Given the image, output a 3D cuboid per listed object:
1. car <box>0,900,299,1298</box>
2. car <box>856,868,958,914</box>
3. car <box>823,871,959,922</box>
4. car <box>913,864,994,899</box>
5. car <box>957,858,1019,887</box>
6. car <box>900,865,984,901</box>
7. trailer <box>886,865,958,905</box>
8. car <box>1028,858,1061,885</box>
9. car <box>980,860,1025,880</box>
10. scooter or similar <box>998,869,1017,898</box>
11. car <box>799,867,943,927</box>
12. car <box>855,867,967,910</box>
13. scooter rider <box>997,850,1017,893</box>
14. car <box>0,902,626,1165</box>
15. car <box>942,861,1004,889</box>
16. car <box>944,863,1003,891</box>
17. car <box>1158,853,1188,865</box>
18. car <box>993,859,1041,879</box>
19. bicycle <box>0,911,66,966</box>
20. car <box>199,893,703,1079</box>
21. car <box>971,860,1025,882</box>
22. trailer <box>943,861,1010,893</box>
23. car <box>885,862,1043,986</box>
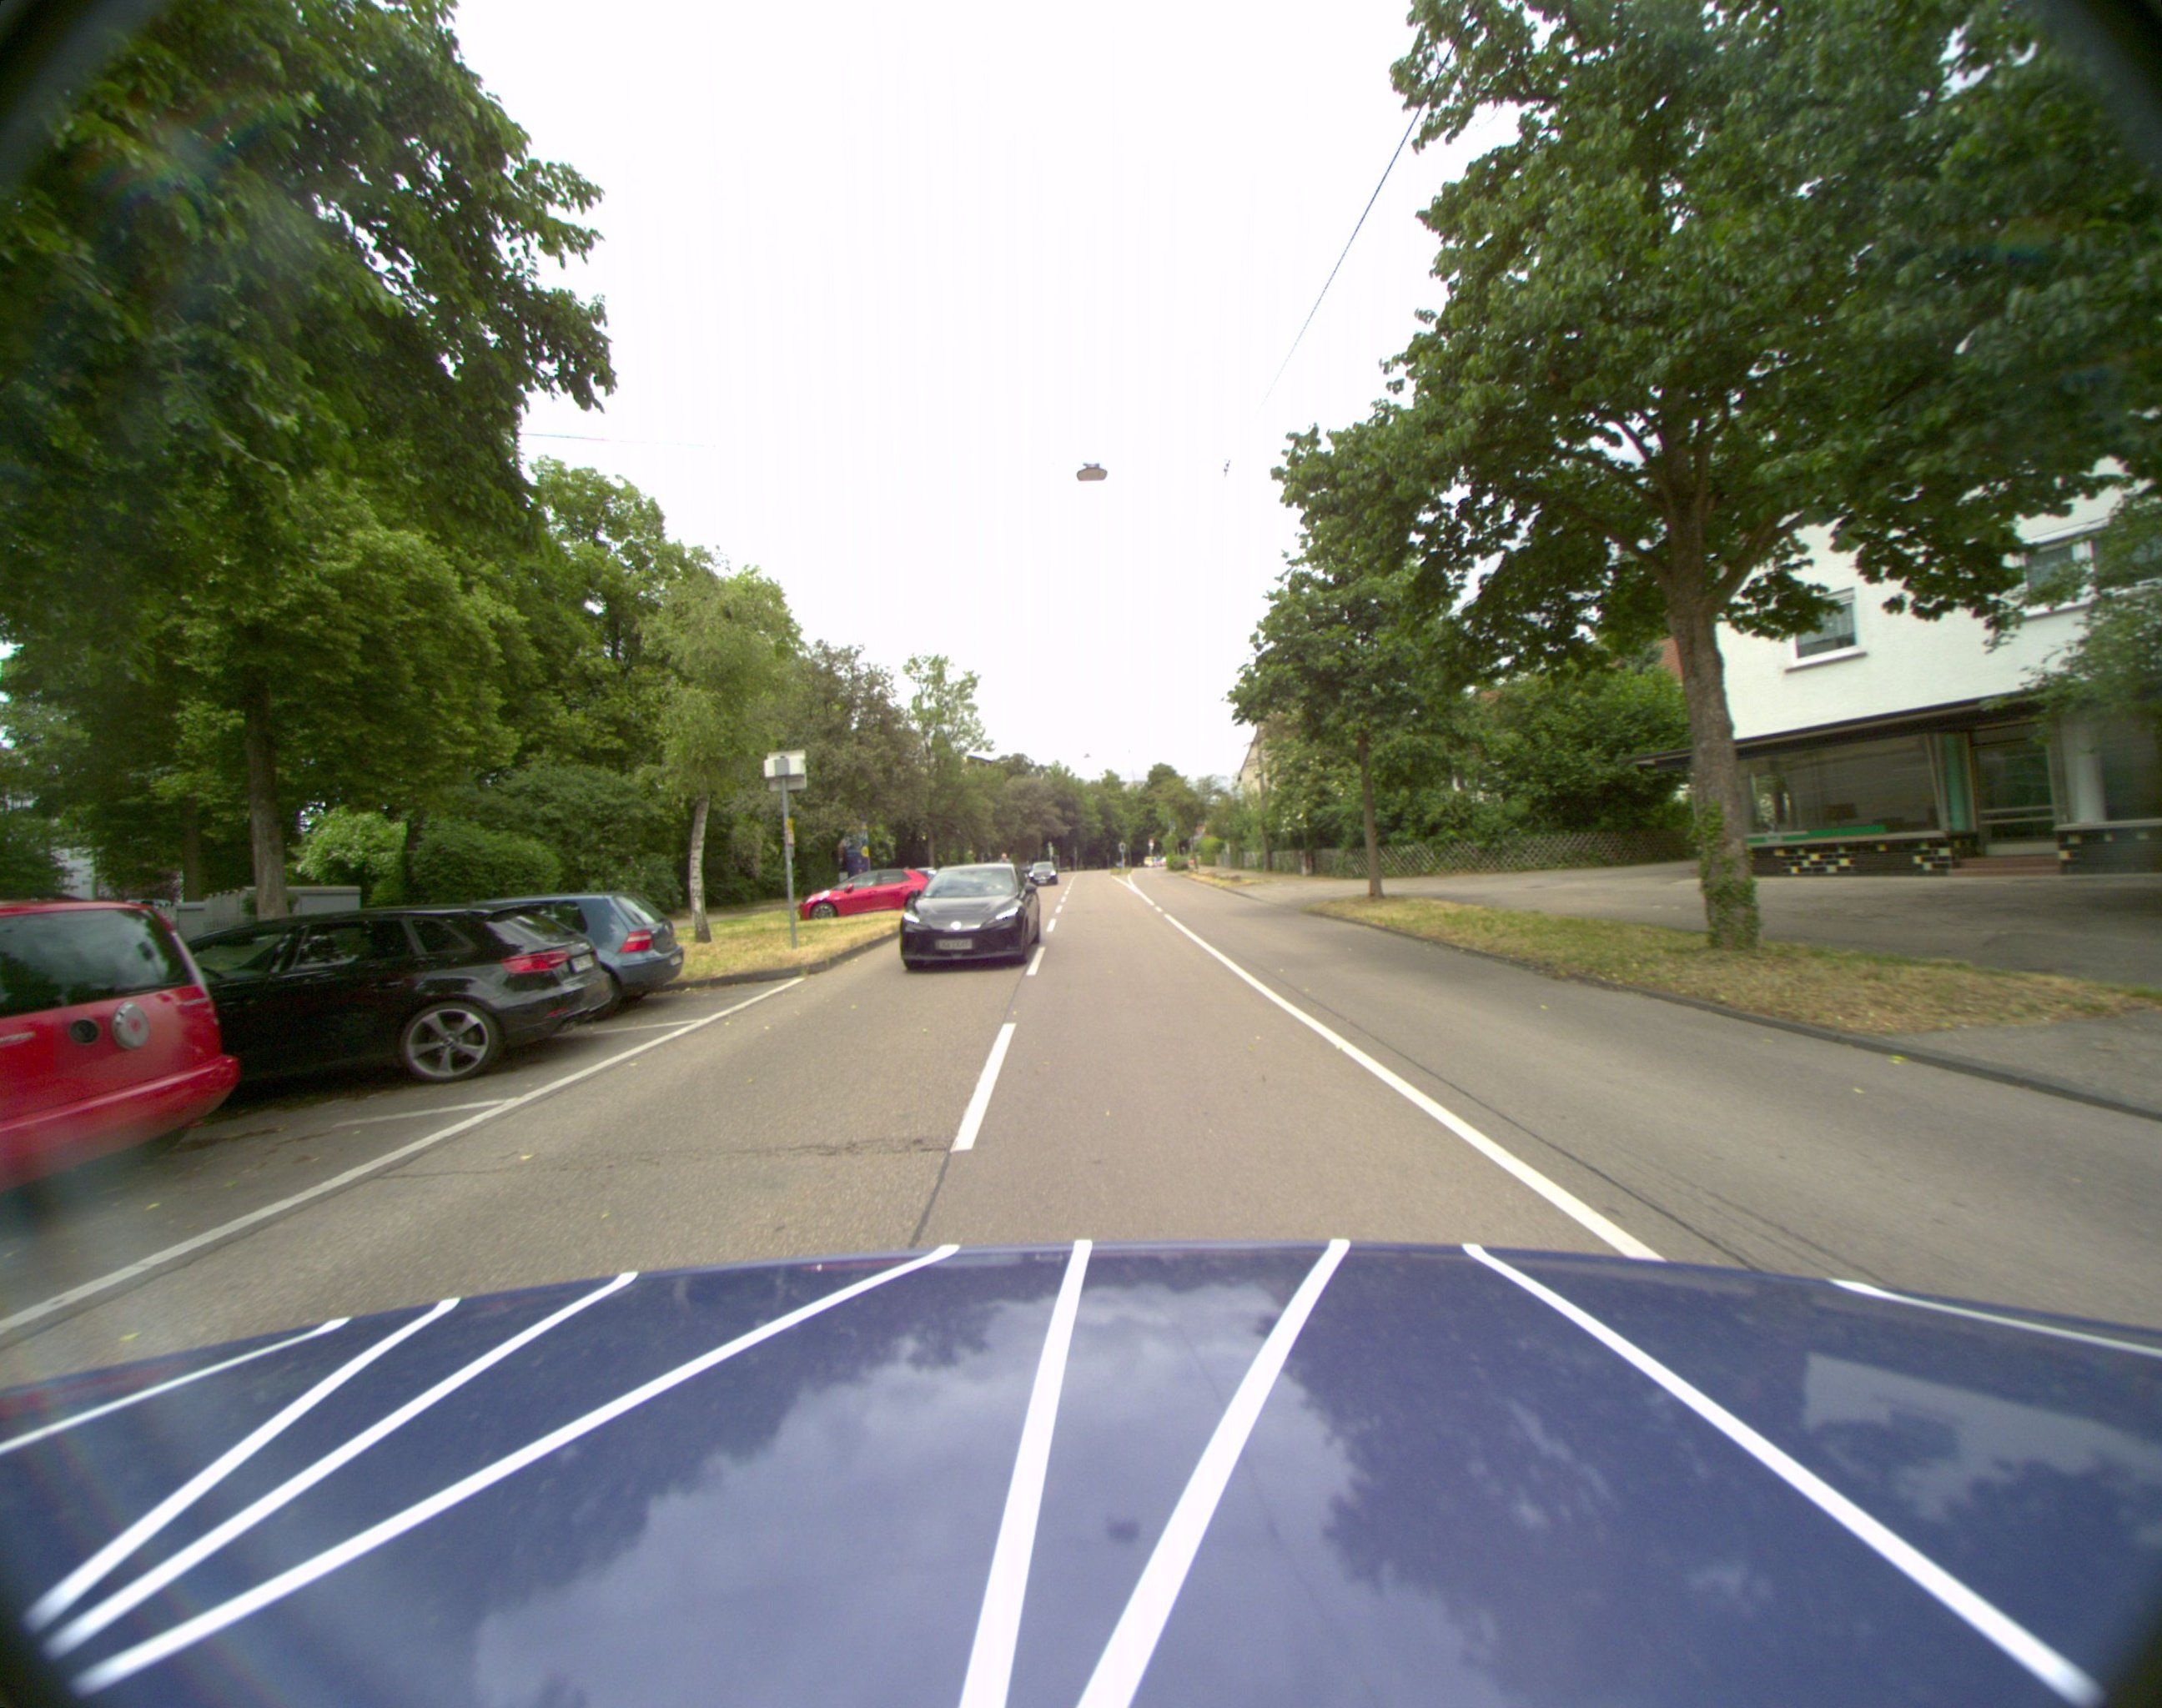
[{"bbox_3d":[-6.718,1.221,3.383,4.011,1.610,1.882,-4,0,-15],"label":"car"},{"bbox_3d":[-6.702,1.385,29.316,3.623,1.437,1.632,-4,0,-15],"label":"car"},{"bbox_3d":[-6.495,1.419,26.240,4.328,1.333,1.732,-4,0,-13],"label":"car"},{"bbox_3d":[-6.604,1.376,39.246,3.925,1.478,1.616,-4,0,-12],"label":"car"},{"bbox_3d":[-6.403,1.252,52.137,3.999,1.715,1.679,-4,1,-11],"label":"car"},{"bbox_3d":[-6.725,1.389,36.890,3.853,1.446,1.633,-4,0,-10],"label":"car"},{"bbox_3d":[-7.171,1.397,34.346,2.996,1.533,1.302,-4,0,-12],"label":"trailer"},{"bbox_3d":[-2.276,1.076,48.194,1.814,1.520,4.000,-3,0,1],"label":"car"},{"bbox_3d":[-6.676,1.375,64.569,3.535,1.467,1.591,-4,0,-11],"label":"car"},{"bbox_3d":[-3.090,1.242,32.138,0.683,1.132,1.459,-4,0,-4],"label":"scooter or similar"},{"bbox_3d":[-6.525,1.301,23.740,4.087,1.506,1.731,-3,0,-17],"label":"car"},{"bbox_3d":[-7.127,1.415,31.772,4.361,1.437,1.632,-4,0,-17],"label":"car"},{"bbox_3d":[-3.113,0.743,32.134,0.683,1.720,1.196,-4,0,-4],"label":"scooter rider"},{"bbox_3d":[-6.343,1.313,6.268,4.043,1.397,1.754,-4,0,-17],"label":"car"},{"bbox_3d":[-7.001,1.384,49.560,3.831,1.520,1.605,-4,1,-3],"label":"car"},{"bbox_3d":[-6.693,1.415,47.132,3.436,1.437,1.558,-4,1,-11],"label":"car"},{"bbox_3d":[13.645,0.781,112.668,3.904,1.463,1.845,-3,-2,-8],"label":"car"},{"bbox_3d":[-5.868,1.370,69.659,4.149,1.467,1.575,-4,0,-11],"label":"car"},{"bbox_3d":[-22.295,1.770,15.544,0.540,1.071,1.928,-5,-1,-6],"label":"bicycle"},{"bbox_3d":[-6.761,1.352,8.694,3.979,1.397,1.755,-5,0,-14],"label":"car"},{"bbox_3d":[-6.761,1.394,61.931,4.233,1.455,1.634,-4,0,-8],"label":"car"},{"bbox_3d":[-6.163,1.325,44.633,3.701,1.526,1.645,-4,0,-11],"label":"trailer"},{"bbox_3d":[-1.676,0.963,12.349,1.804,1.541,4.298,-3,0,0],"label":"car"}]
